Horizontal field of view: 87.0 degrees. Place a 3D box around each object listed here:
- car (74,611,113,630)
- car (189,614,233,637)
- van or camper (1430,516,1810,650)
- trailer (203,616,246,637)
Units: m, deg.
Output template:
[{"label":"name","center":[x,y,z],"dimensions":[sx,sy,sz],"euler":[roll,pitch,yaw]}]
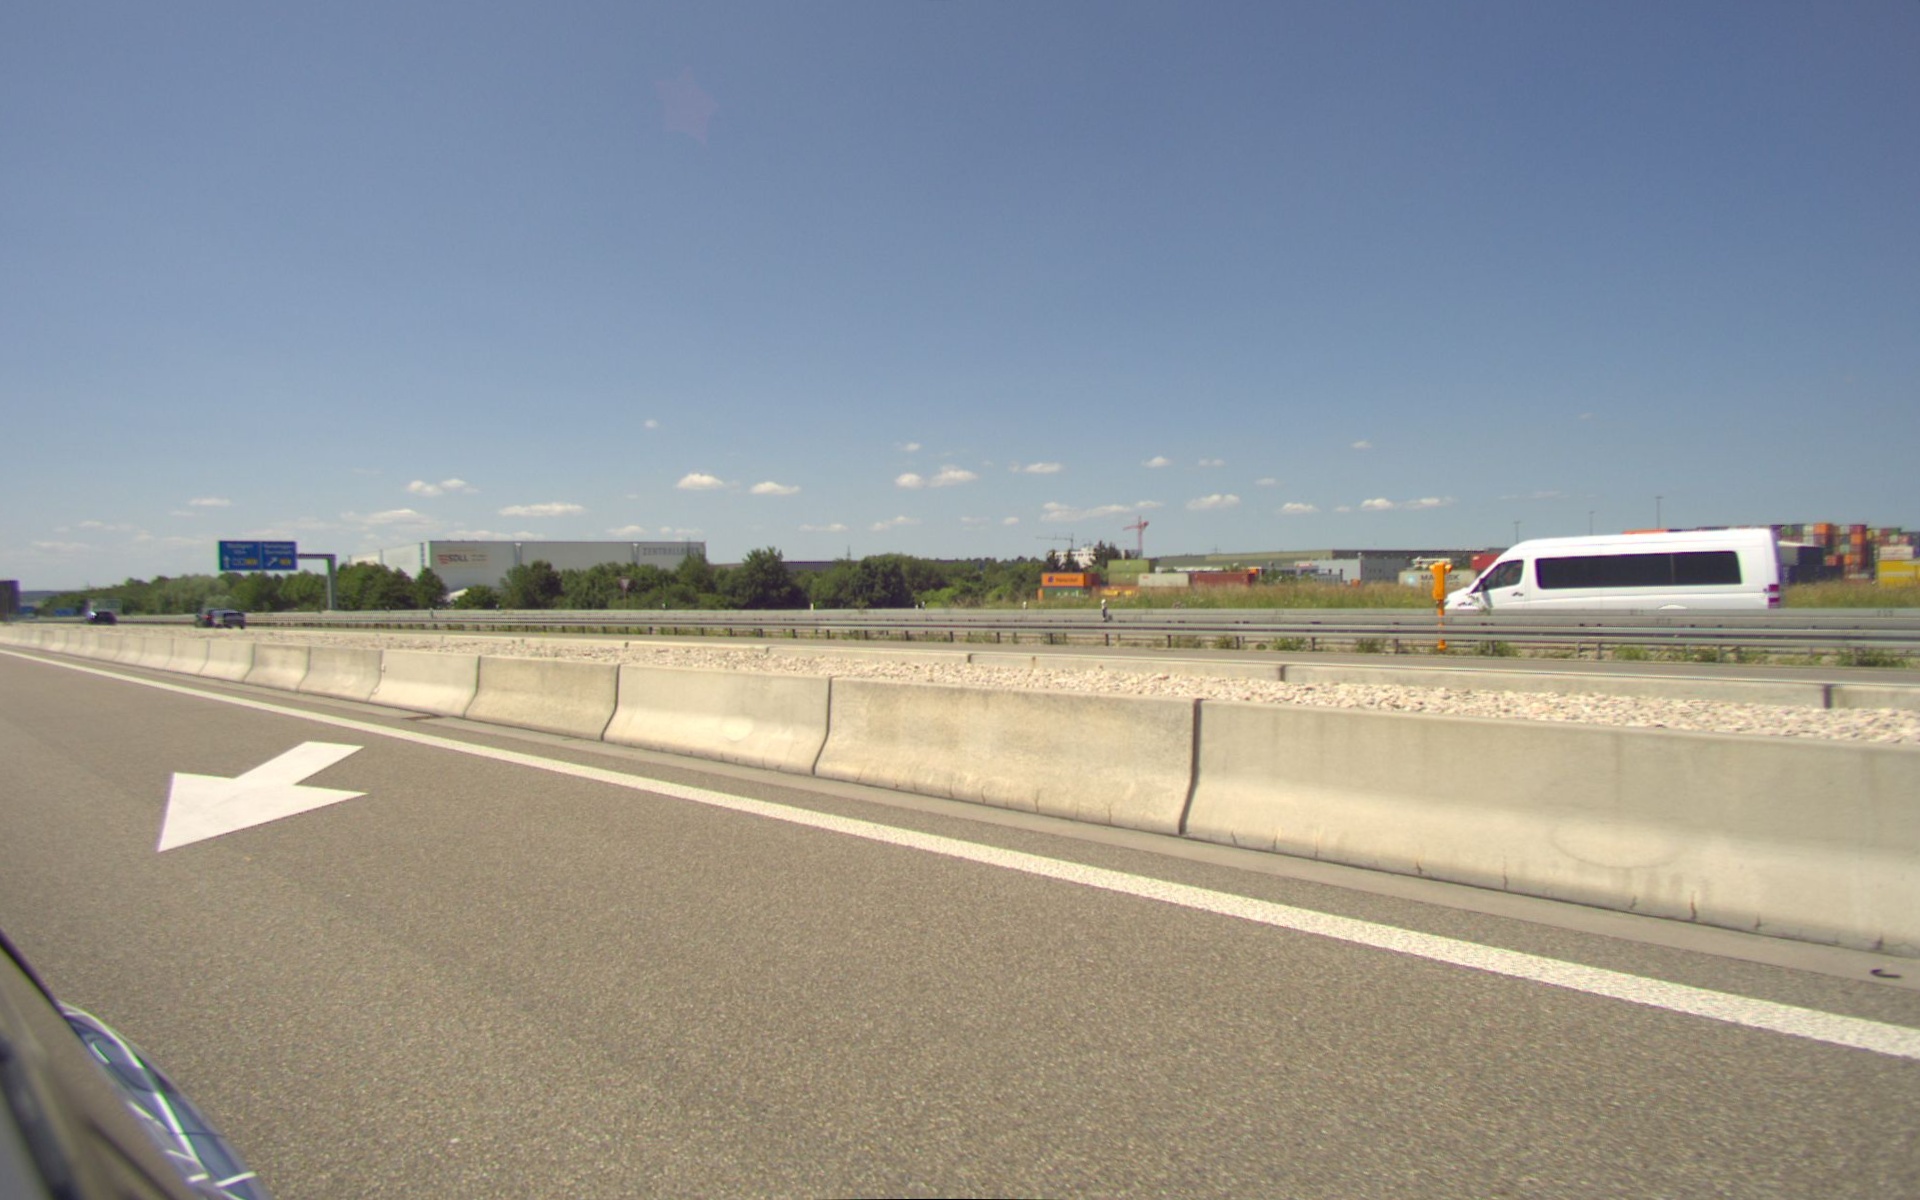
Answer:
[{"label":"car","center":[-72.118,1.696,84.205],"dimensions":[4.371,1.484,2.009],"euler":[-1,0,43]},{"label":"car","center":[-54.604,1.850,73.773],"dimensions":[3.998,1.562,1.773],"euler":[-1,0,42]},{"label":"van or camper","center":[15.935,-0.331,24.867],"dimensions":[7.538,2.843,2.520],"euler":[-1,0,41]},{"label":"trailer","center":[-51.749,1.853,71.165],"dimensions":[3.682,1.446,1.737],"euler":[-1,-1,42]}]
